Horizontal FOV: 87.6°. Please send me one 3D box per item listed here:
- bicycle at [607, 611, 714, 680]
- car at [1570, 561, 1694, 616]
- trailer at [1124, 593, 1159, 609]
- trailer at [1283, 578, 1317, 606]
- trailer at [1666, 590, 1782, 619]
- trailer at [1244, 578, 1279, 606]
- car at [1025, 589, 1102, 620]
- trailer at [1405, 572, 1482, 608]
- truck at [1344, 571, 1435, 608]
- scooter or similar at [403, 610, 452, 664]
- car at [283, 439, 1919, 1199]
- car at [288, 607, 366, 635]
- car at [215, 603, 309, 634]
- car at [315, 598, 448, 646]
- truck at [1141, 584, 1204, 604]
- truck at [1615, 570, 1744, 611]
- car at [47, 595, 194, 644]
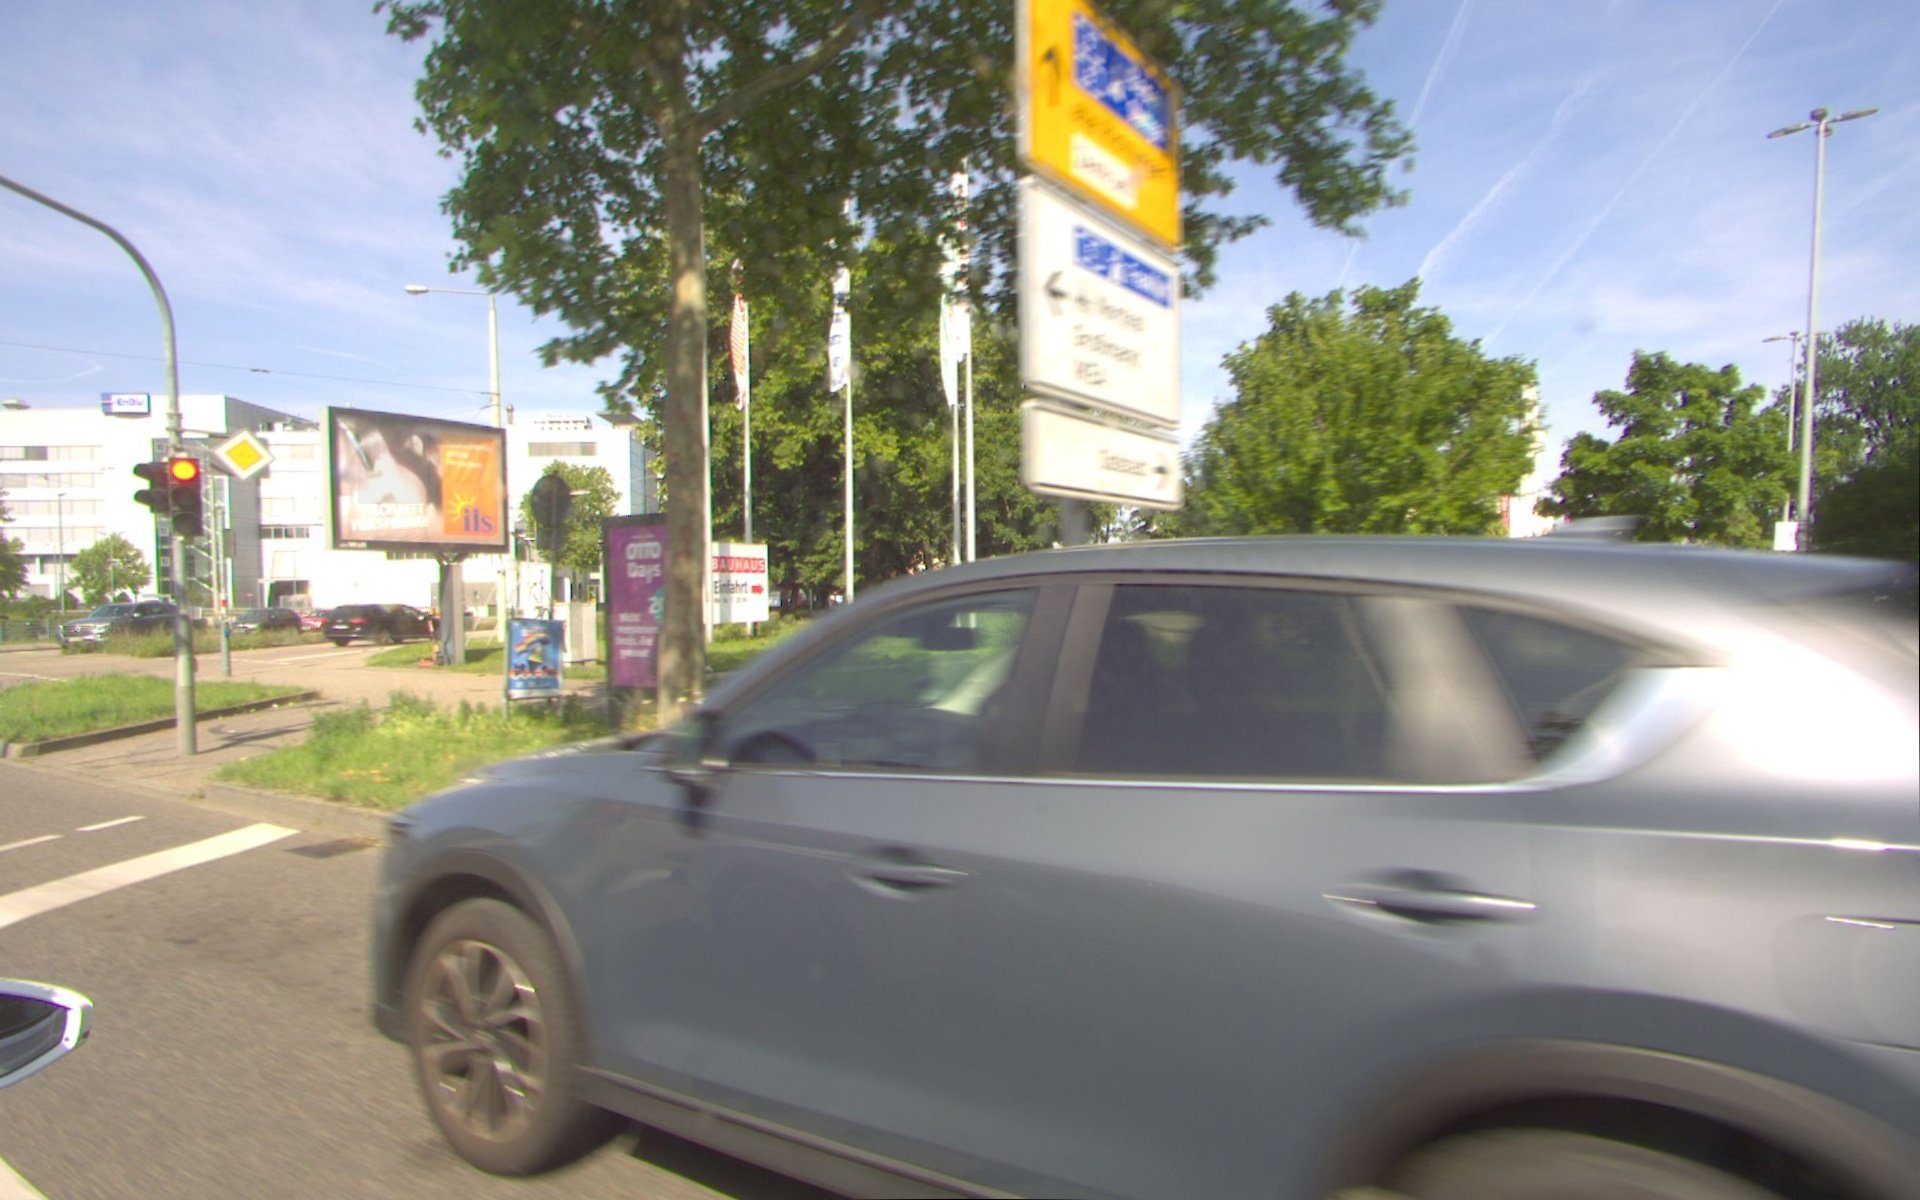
[{"bbox_3d":[-5.425,0.810,18.198,1.771,1.123,0.499,-3,2,-40],"label":"bicycle"},{"bbox_3d":[33.770,-0.559,50.580,1.980,2.576,5.686,-3,1,-6],"label":"car"},{"bbox_3d":[15.190,0.065,83.939,1.560,1.304,4.409,-1,0,-8],"label":"trailer"},{"bbox_3d":[29.011,-0.695,85.527,1.520,2.390,4.410,0,1,1],"label":"trailer"},{"bbox_3d":[34.208,0.180,44.995,2.029,1.137,4.030,-3,1,-2],"label":"trailer"},{"bbox_3d":[25.861,-0.716,86.132,1.560,2.409,4.409,0,1,-2],"label":"trailer"},{"bbox_3d":[5.486,0.239,53.290,3.972,1.608,1.730,-1,1,4],"label":"car"},{"bbox_3d":[32.693,-0.658,67.803,4.325,2.409,1.751,0,2,0],"label":"trailer"},{"bbox_3d":[31.495,-0.790,73.533,5.914,2.644,2.018,0,1,-6],"label":"truck"},{"bbox_3d":[-11.532,0.798,21.687,1.107,1.141,0.423,0,1,31],"label":"scooter or similar"},{"bbox_3d":[0.175,0.687,2.806,4.430,1.680,1.763,-1,-1,31],"label":"car"},{"bbox_3d":[-35.770,1.160,56.726,1.747,1.463,4.625,-1,0,-4],"label":"car"},{"bbox_3d":[-35.496,0.900,51.078,1.747,1.463,4.625,-1,0,-4],"label":"car"},{"bbox_3d":[-20.256,0.718,35.296,1.815,1.530,4.393,-1,0,6],"label":"car"},{"bbox_3d":[21.421,-0.601,101.226,5.888,1.855,2.188,0,-1,-3],"label":"truck"},{"bbox_3d":[39.857,-0.529,55.567,5.751,2.169,2.066,-1,1,-1],"label":"truck"},{"bbox_3d":[-31.837,0.699,38.190,1.879,1.711,4.625,-1,0,-4],"label":"car"}]
